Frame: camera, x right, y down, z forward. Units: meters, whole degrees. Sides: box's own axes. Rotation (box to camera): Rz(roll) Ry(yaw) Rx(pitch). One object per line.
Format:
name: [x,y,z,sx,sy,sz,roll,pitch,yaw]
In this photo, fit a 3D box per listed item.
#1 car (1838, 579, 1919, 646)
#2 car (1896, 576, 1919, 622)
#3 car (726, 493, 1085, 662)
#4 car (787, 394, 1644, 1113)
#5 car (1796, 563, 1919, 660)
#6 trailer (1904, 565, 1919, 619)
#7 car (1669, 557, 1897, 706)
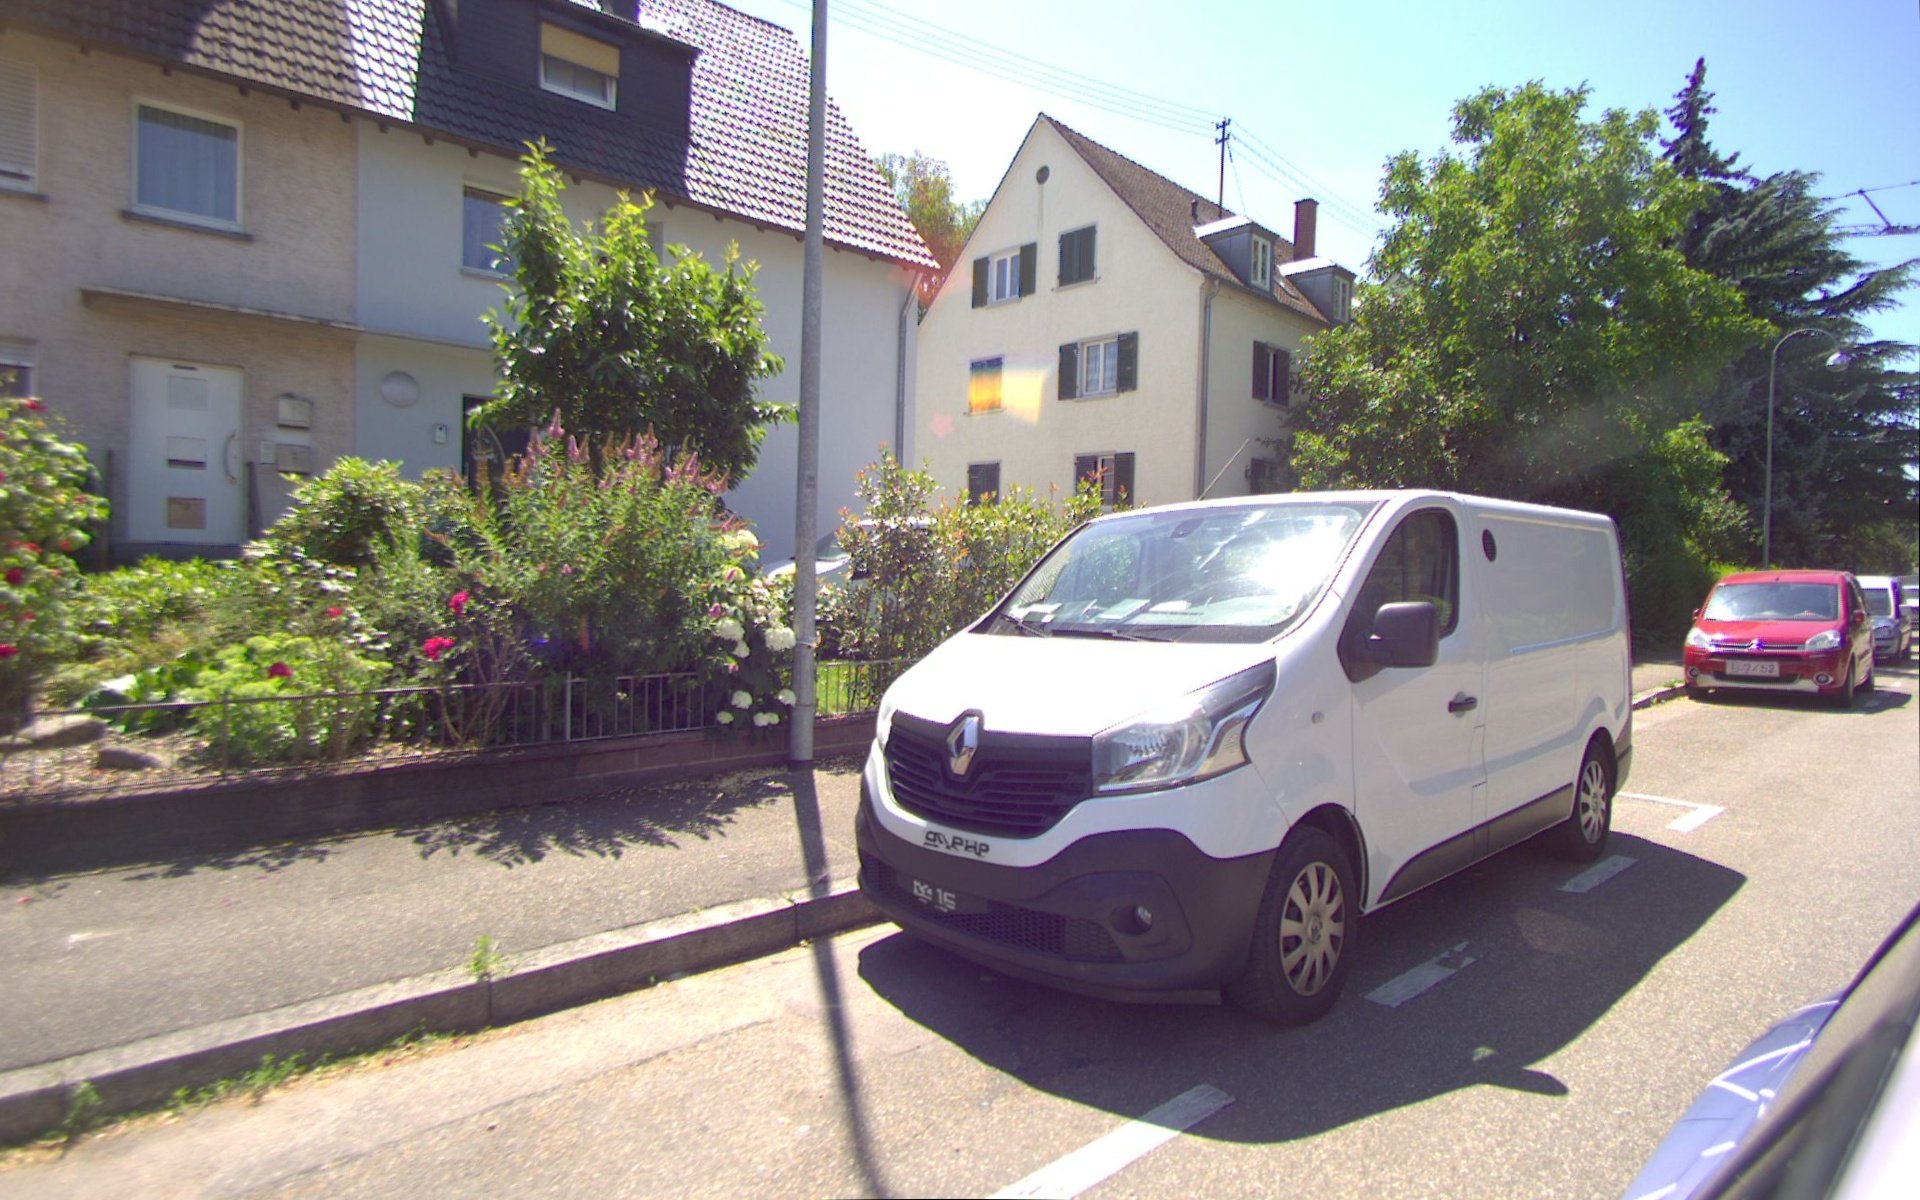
car: [22.128,0.272,24.298,2.662,1.514,1.262,-1,0,-42]
car: [36.014,-0.045,37.528,1.772,1.652,4.530,0,0,44]
car: [-0.636,-0.287,13.180,4.314,1.878,1.752,1,4,-34]
car: [1.629,0.382,5.022,4.638,1.949,1.905,-1,1,-42]
car: [18.795,0.178,20.955,4.467,1.804,1.748,-1,1,-43]
trailer: [39.744,-0.363,41.294,1.680,2.093,3.649,0,1,44]
car: [11.549,0.331,14.096,4.318,1.750,1.905,-1,1,-43]
